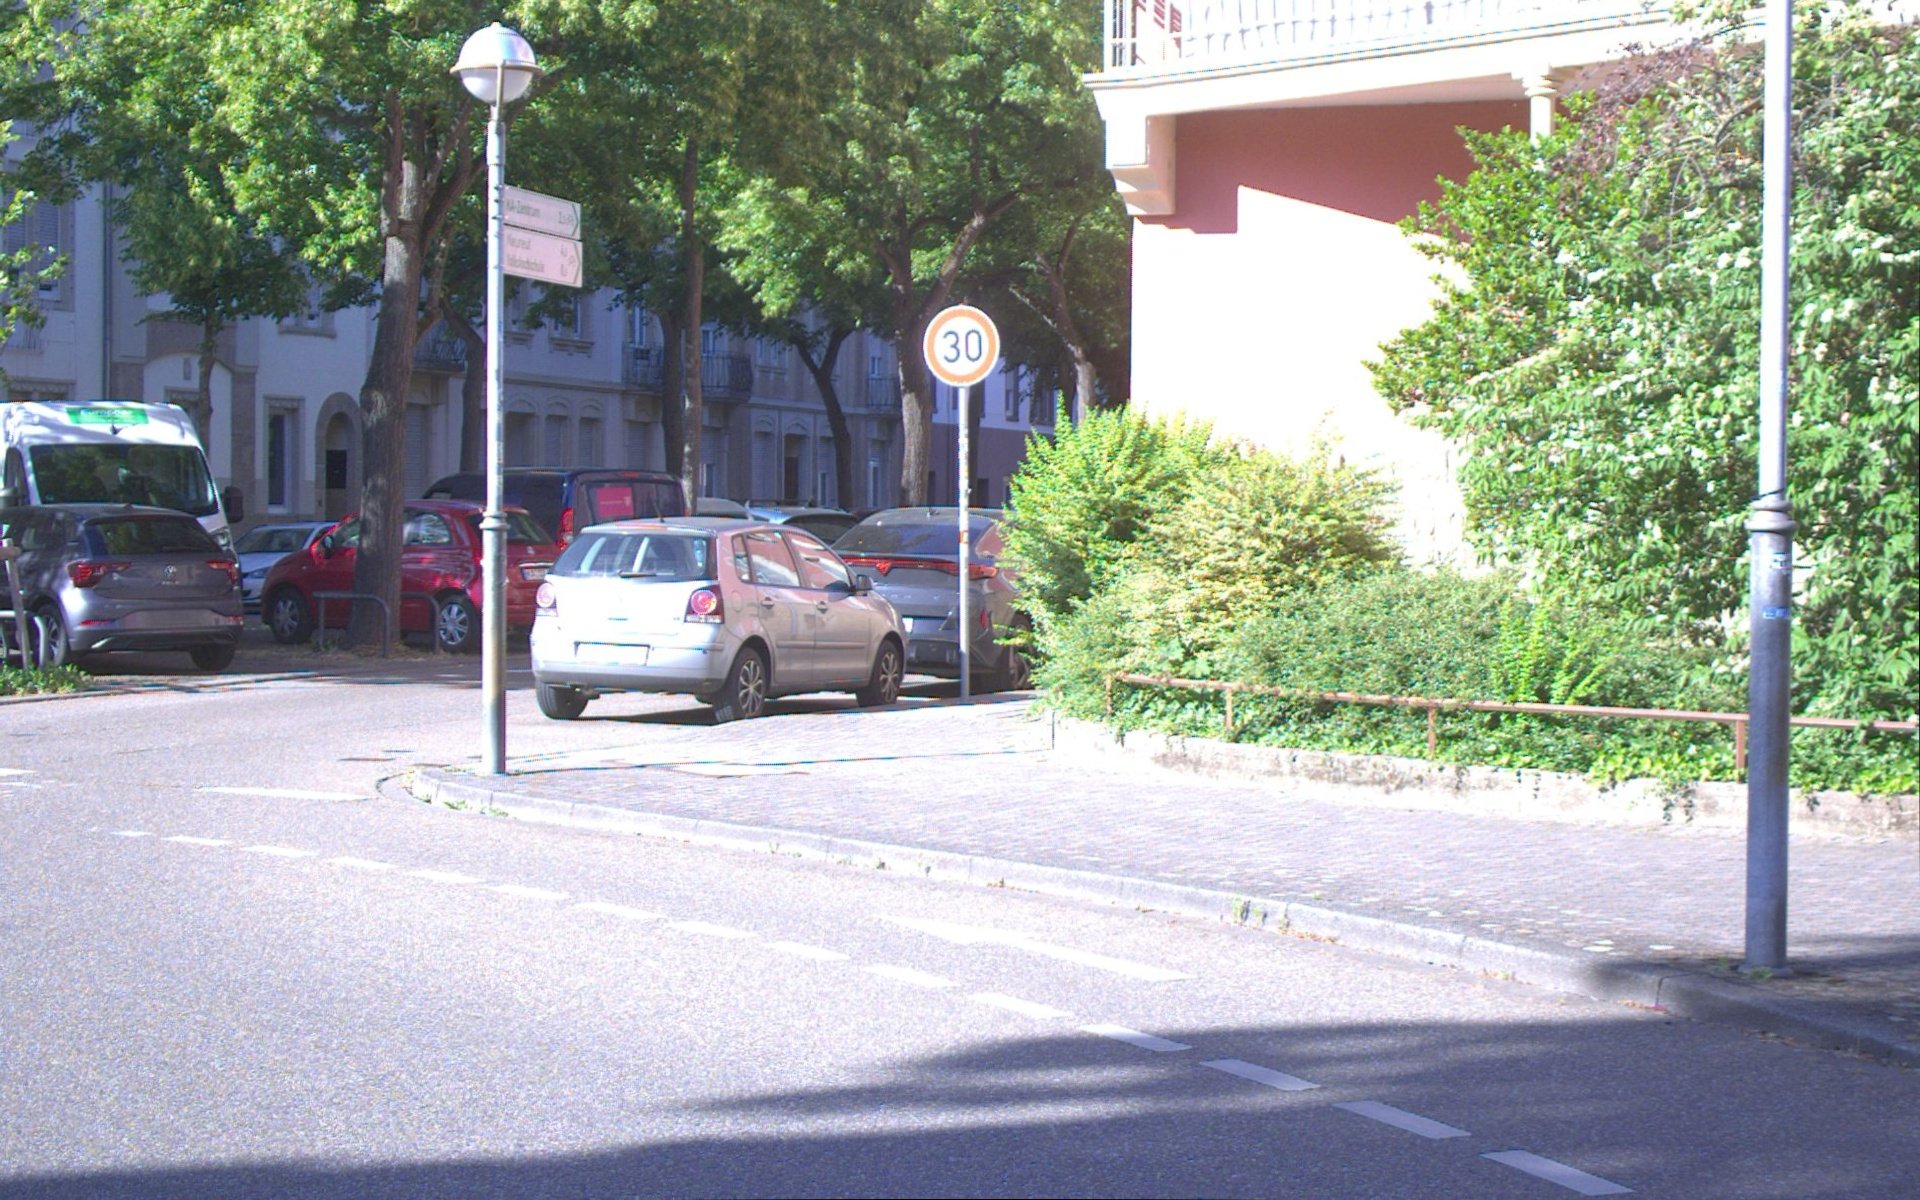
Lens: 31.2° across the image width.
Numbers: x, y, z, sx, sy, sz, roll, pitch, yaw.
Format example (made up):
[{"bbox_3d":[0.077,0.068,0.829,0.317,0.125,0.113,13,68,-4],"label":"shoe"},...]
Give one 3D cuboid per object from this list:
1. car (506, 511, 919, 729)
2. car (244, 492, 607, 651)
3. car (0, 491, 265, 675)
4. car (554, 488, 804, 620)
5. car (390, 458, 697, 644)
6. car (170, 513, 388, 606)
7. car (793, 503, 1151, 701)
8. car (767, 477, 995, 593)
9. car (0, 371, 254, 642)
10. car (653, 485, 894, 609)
[{"bbox_3d":[-1.757,0.085,25.541,1.684,1.441,3.542,2,2,21],"label":"car"},{"bbox_3d":[-5.425,-0.316,34.790,3.380,1.441,1.685,3,3,35],"label":"car"},{"bbox_3d":[-7.946,-0.200,30.331,1.683,1.441,3.920,0,3,-44],"label":"car"},{"bbox_3d":[-3.454,-0.576,41.775,1.682,1.465,3.384,0,2,-31],"label":"car"},{"bbox_3d":[-4.532,-0.560,37.109,1.683,1.858,3.383,0,3,-40],"label":"car"},{"bbox_3d":[-10.691,-0.659,54.260,1.684,1.385,3.919,0,2,17],"label":"car"},{"bbox_3d":[0.191,-0.046,30.191,1.684,1.557,4.291,2,2,21],"label":"car"},{"bbox_3d":[-1.129,-0.919,47.646,1.682,1.465,3.384,0,2,-31],"label":"car"},{"bbox_3d":[-9.404,-1.038,36.164,2.096,2.591,6.378,1,2,-28],"label":"car"},{"bbox_3d":[-2.435,-0.701,44.253,1.682,1.465,3.384,0,2,-31],"label":"car"}]
